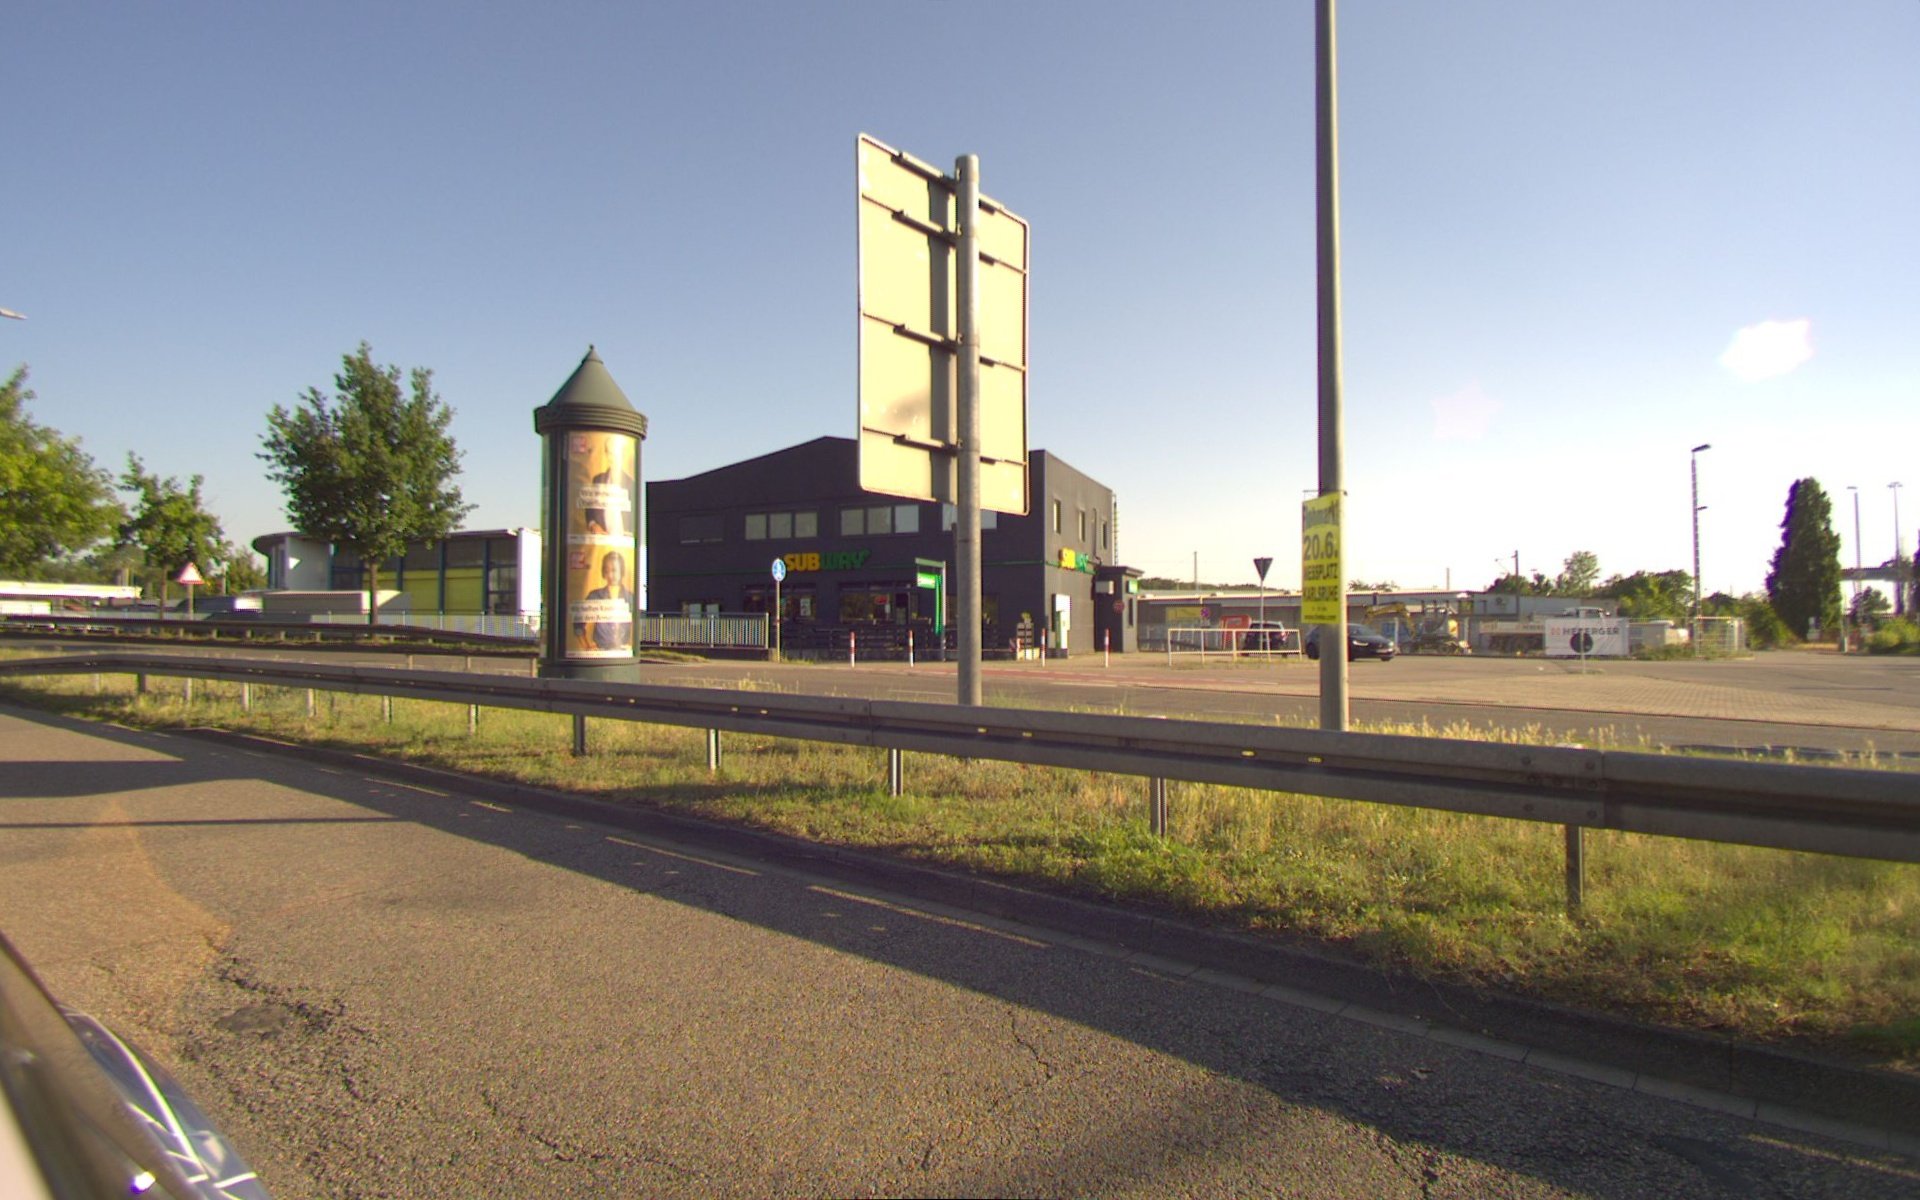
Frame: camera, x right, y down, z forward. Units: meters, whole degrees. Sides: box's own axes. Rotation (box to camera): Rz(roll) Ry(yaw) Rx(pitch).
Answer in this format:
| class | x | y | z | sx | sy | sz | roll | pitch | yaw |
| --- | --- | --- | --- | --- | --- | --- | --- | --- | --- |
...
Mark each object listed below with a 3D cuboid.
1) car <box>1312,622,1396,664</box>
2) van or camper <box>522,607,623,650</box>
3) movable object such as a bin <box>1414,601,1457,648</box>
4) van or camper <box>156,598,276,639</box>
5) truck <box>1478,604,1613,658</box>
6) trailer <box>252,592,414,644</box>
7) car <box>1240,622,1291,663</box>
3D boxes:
| class | x | y | z | sx | sy | sz | roll | pitch | yaw |
| --- | --- | --- | --- | --- | --- | --- | --- | --- | --- |
| car | 17.256 | 1.849 | 44.566 | 1.765 | 1.676 | 4.521 | 0 | -1 | -3 |
| van or camper | -18.527 | 1.376 | 48.450 | 4.158 | 1.940 | 2.006 | 2 | -1 | -33 |
| movable object such as a bin | 27.945 | 1.424 | 59.421 | 2.210 | 2.735 | 1.722 | 0 | -1 | 29 |
| van or camper | -33.022 | 0.816 | 44.936 | 4.925 | 1.698 | 1.986 | 1 | -1 | 21 |
| truck | 35.747 | 1.858 | 61.987 | 6.697 | 3.168 | 2.434 | 1 | -1 | 7 |
| trailer | -26.195 | 0.710 | 42.267 | 6.562 | 1.985 | 2.409 | 1 | -1 | 23 |
| car | 12.488 | 1.674 | 41.212 | 1.830 | 1.541 | 3.975 | 0 | -1 | 19 |
